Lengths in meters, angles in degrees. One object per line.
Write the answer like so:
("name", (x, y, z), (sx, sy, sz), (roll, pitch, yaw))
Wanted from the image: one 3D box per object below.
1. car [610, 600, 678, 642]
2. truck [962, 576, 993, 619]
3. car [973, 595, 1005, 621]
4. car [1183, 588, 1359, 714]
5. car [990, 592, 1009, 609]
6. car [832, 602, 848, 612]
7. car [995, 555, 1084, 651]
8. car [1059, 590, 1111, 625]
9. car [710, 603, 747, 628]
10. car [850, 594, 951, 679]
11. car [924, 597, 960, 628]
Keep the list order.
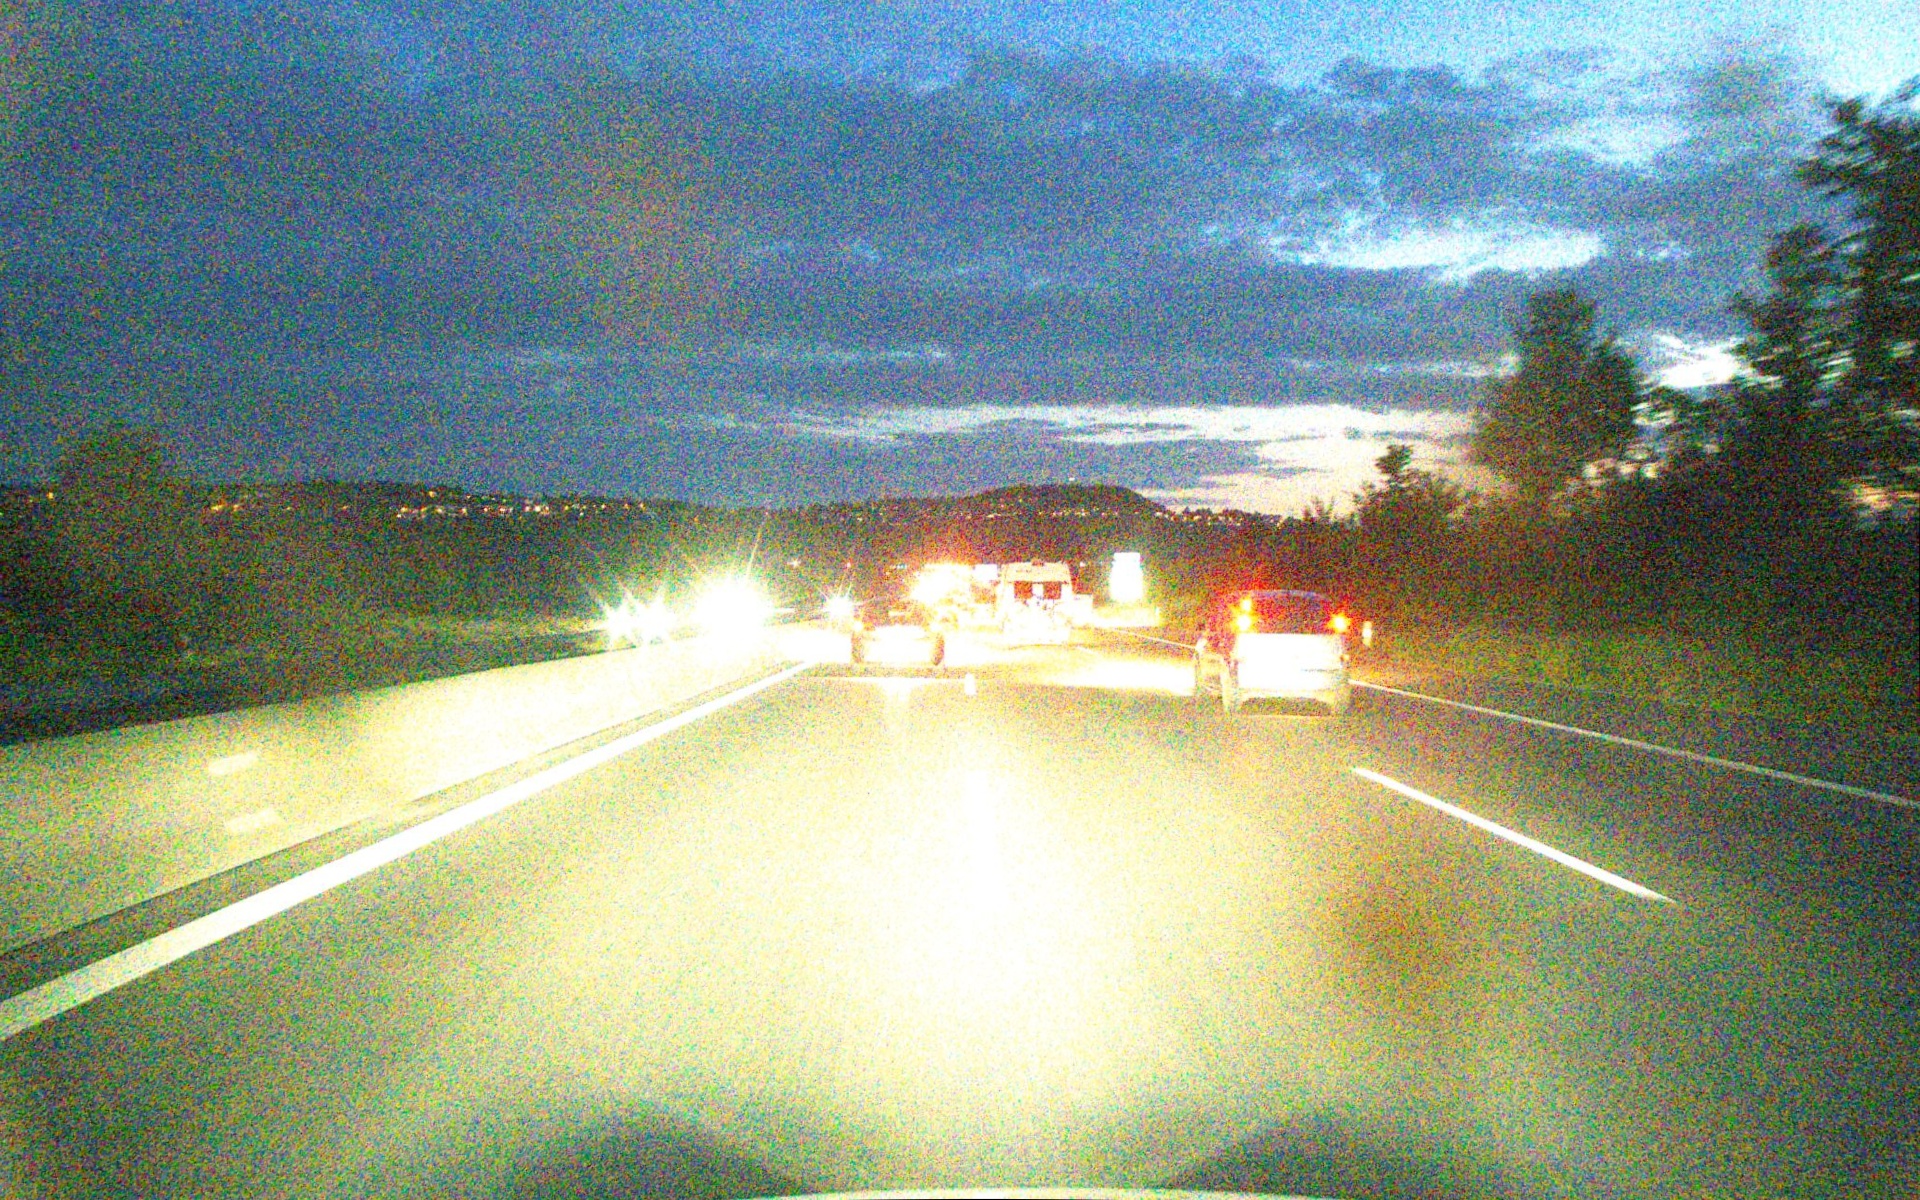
("car", (-13.642, 0.888, 71.707), (1.864, 1.671, 5.298), (-1, 0, 0))
("truck", (1.651, -0.235, 160.820), (2.725, 4.024, 7.991), (-1, 0, -1))
("car", (2.184, 0.582, 126.357), (2.303, 1.947, 4.723), (-1, 0, 0))
("car", (4.308, 0.653, 23.521), (1.612, 1.624, 4.509), (0, 0, -1))
("car", (5.010, 0.017, 212.160), (2.303, 2.112, 4.723), (-1, 1, 0))
("car", (-17.444, 1.011, 240.162), (1.953, 1.444, 4.981), (-3, 0, -2))
("car", (2.246, 0.053, 48.177), (2.303, 2.579, 5.701), (-1, 1, 0))
("car", (5.798, 0.332, 77.319), (2.118, 1.591, 4.723), (0, 0, 0))
("car", (-17.343, 1.151, 124.167), (2.003, 1.750, 4.775), (-3, 0, 0))
("car", (-1.080, 0.645, 31.443), (1.757, 1.494, 3.773), (0, 1, 0))
("car", (-0.899, 0.642, 85.030), (1.709, 1.465, 4.367), (-1, 1, 0))
